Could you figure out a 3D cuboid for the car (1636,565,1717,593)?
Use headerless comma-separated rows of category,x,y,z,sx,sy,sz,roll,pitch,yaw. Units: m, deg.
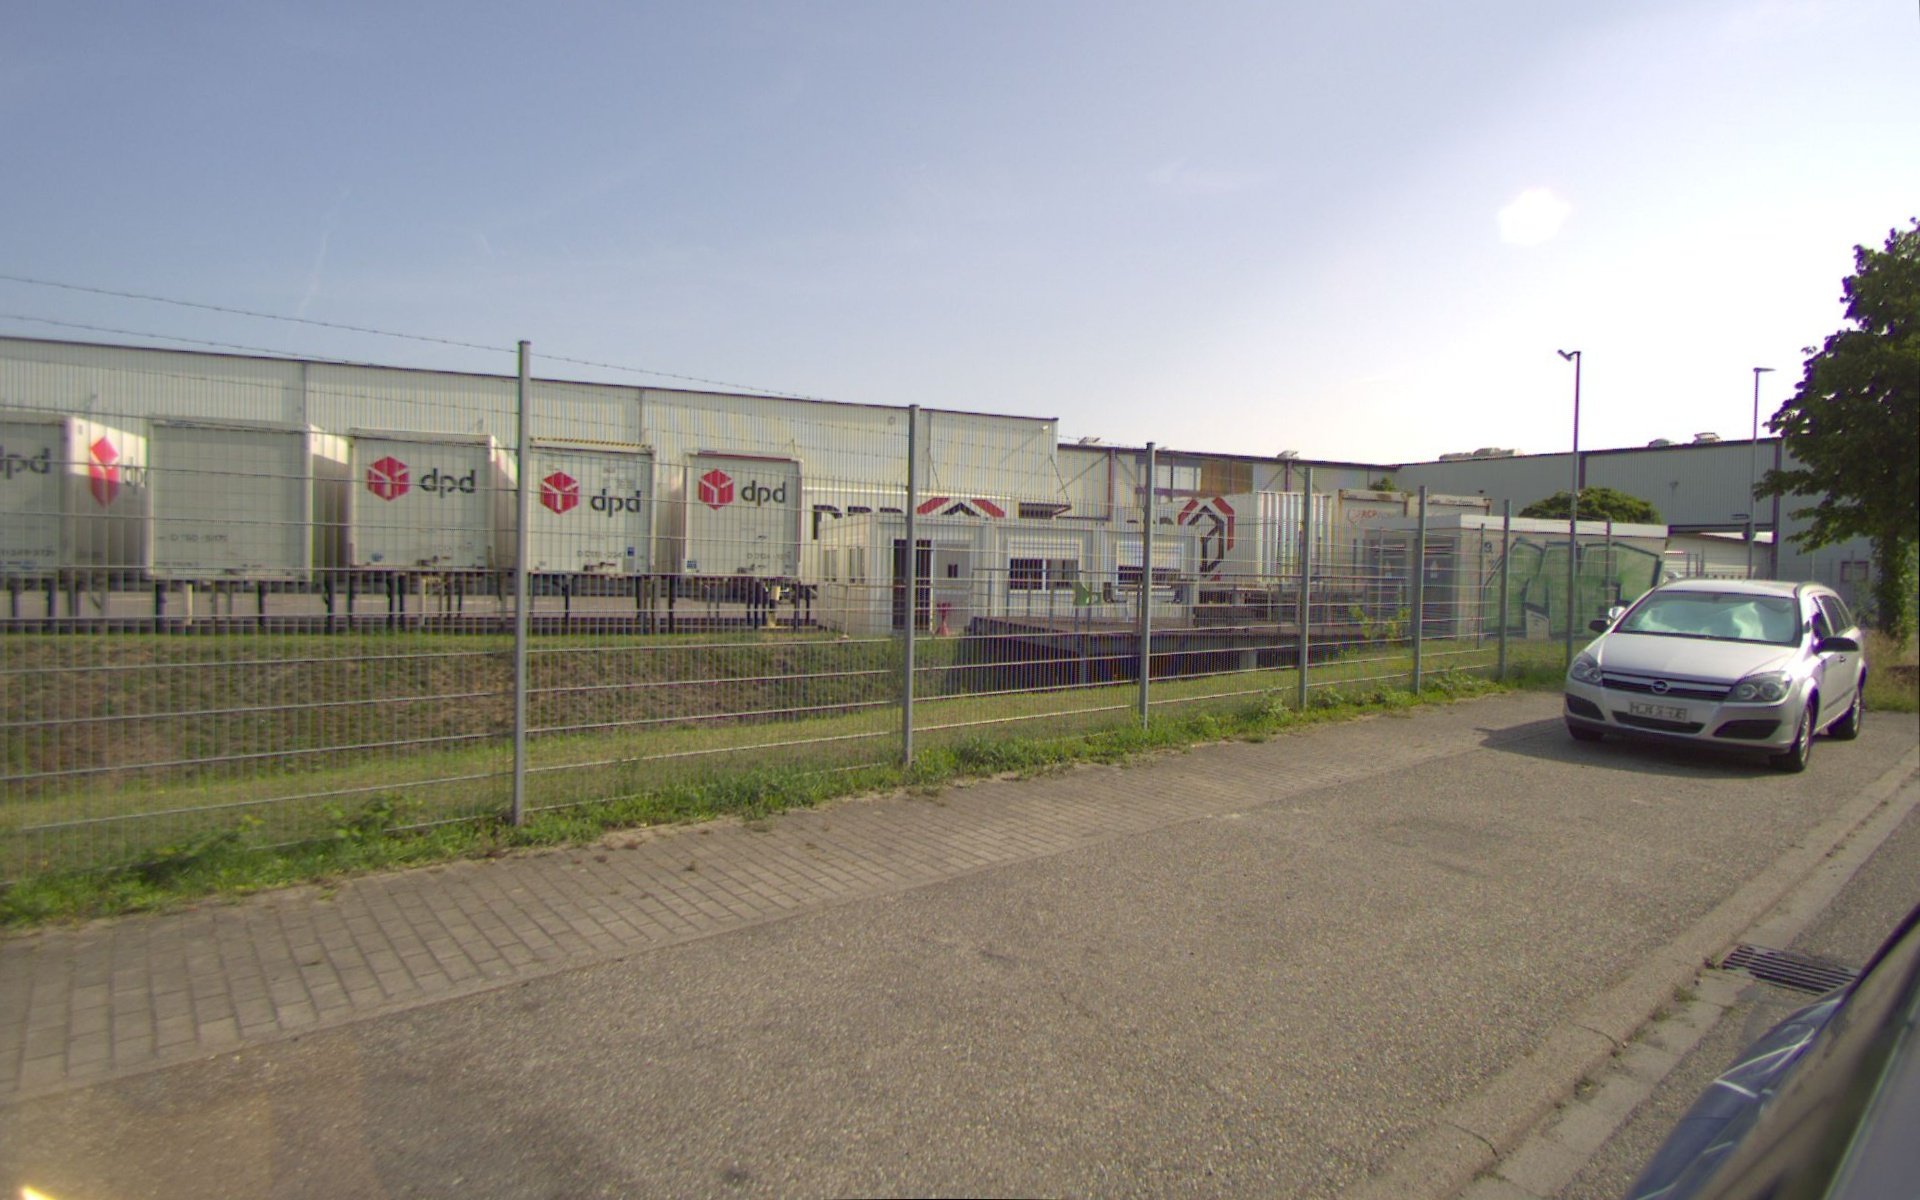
car,57.311,-1.699,81.019,1.895,2.110,4.850,0,3,-36

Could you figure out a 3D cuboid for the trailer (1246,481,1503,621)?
trailer,12.985,-1.535,32.836,2.718,3.941,8.584,-2,2,-19

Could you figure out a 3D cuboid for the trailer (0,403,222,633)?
trailer,-18.304,-1.423,21.003,2.717,3.943,8.075,1,-1,-21

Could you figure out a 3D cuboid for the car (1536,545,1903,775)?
car,7.275,0.400,9.520,4.371,1.645,1.803,0,4,-41

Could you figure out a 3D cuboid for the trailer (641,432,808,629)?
trailer,-6.066,-1.385,24.838,2.717,3.943,8.580,1,-1,-21

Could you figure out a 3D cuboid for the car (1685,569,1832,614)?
car,31.362,-0.302,39.913,1.838,1.646,4.277,1,-1,-17

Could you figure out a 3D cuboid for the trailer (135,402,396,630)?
trailer,-14.539,-1.450,22.011,2.717,3.943,8.350,1,-1,-21

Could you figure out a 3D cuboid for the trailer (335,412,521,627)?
trailer,-11.734,-1.476,23.079,2.717,3.943,8.350,1,-1,-21

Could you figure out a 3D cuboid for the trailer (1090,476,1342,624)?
trailer,7.332,-1.384,30.714,2.732,3.807,8.779,0,1,-22

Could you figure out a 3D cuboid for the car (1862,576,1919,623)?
car,33.435,-0.003,34.294,1.694,1.542,3.966,-3,2,-30

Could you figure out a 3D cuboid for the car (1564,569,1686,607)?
car,29.583,-0.571,45.165,1.692,1.536,4.503,-2,2,-17

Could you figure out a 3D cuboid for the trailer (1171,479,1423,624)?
trailer,10.188,-1.500,31.937,2.717,3.941,8.585,1,2,-20

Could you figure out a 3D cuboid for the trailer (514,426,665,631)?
trailer,-8.871,-1.378,24.078,2.717,3.943,8.580,1,-1,-21

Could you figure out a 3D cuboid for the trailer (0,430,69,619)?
trailer,-20.936,-1.603,19.671,2.717,3.943,8.004,1,-1,-21

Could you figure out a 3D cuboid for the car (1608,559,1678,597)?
car,47.392,-1.546,70.169,6.580,2.548,2.173,-1,2,-39
